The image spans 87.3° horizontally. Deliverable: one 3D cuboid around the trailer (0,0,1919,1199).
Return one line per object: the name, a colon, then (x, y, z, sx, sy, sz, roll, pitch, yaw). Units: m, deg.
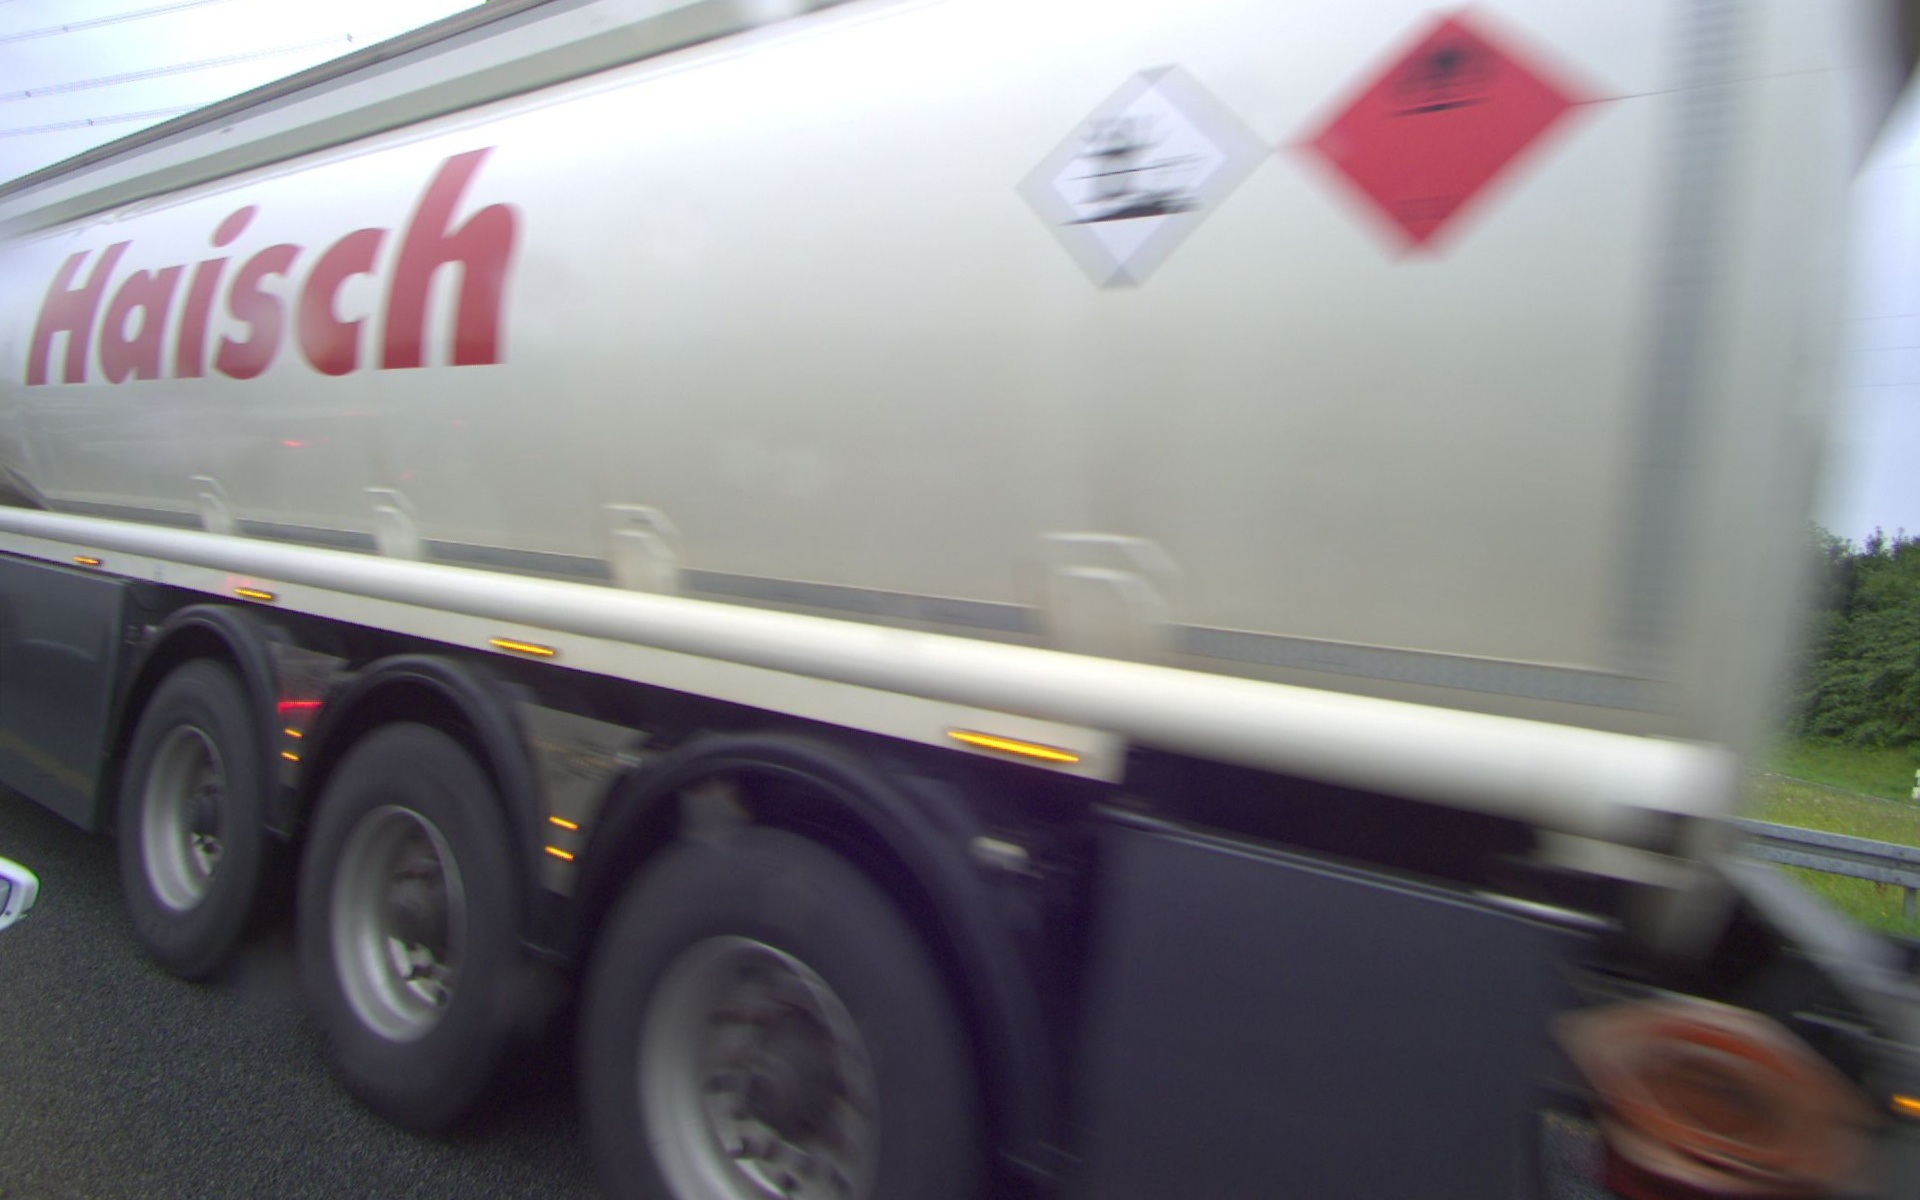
trailer: (-2.666, -0.676, 4.830, 10.369, 3.938, 2.643, 6, -2, 32)

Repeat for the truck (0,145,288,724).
truck: (-8.165, -1.250, 8.233, 3.963, 3.936, 2.650, 6, -2, 32)
